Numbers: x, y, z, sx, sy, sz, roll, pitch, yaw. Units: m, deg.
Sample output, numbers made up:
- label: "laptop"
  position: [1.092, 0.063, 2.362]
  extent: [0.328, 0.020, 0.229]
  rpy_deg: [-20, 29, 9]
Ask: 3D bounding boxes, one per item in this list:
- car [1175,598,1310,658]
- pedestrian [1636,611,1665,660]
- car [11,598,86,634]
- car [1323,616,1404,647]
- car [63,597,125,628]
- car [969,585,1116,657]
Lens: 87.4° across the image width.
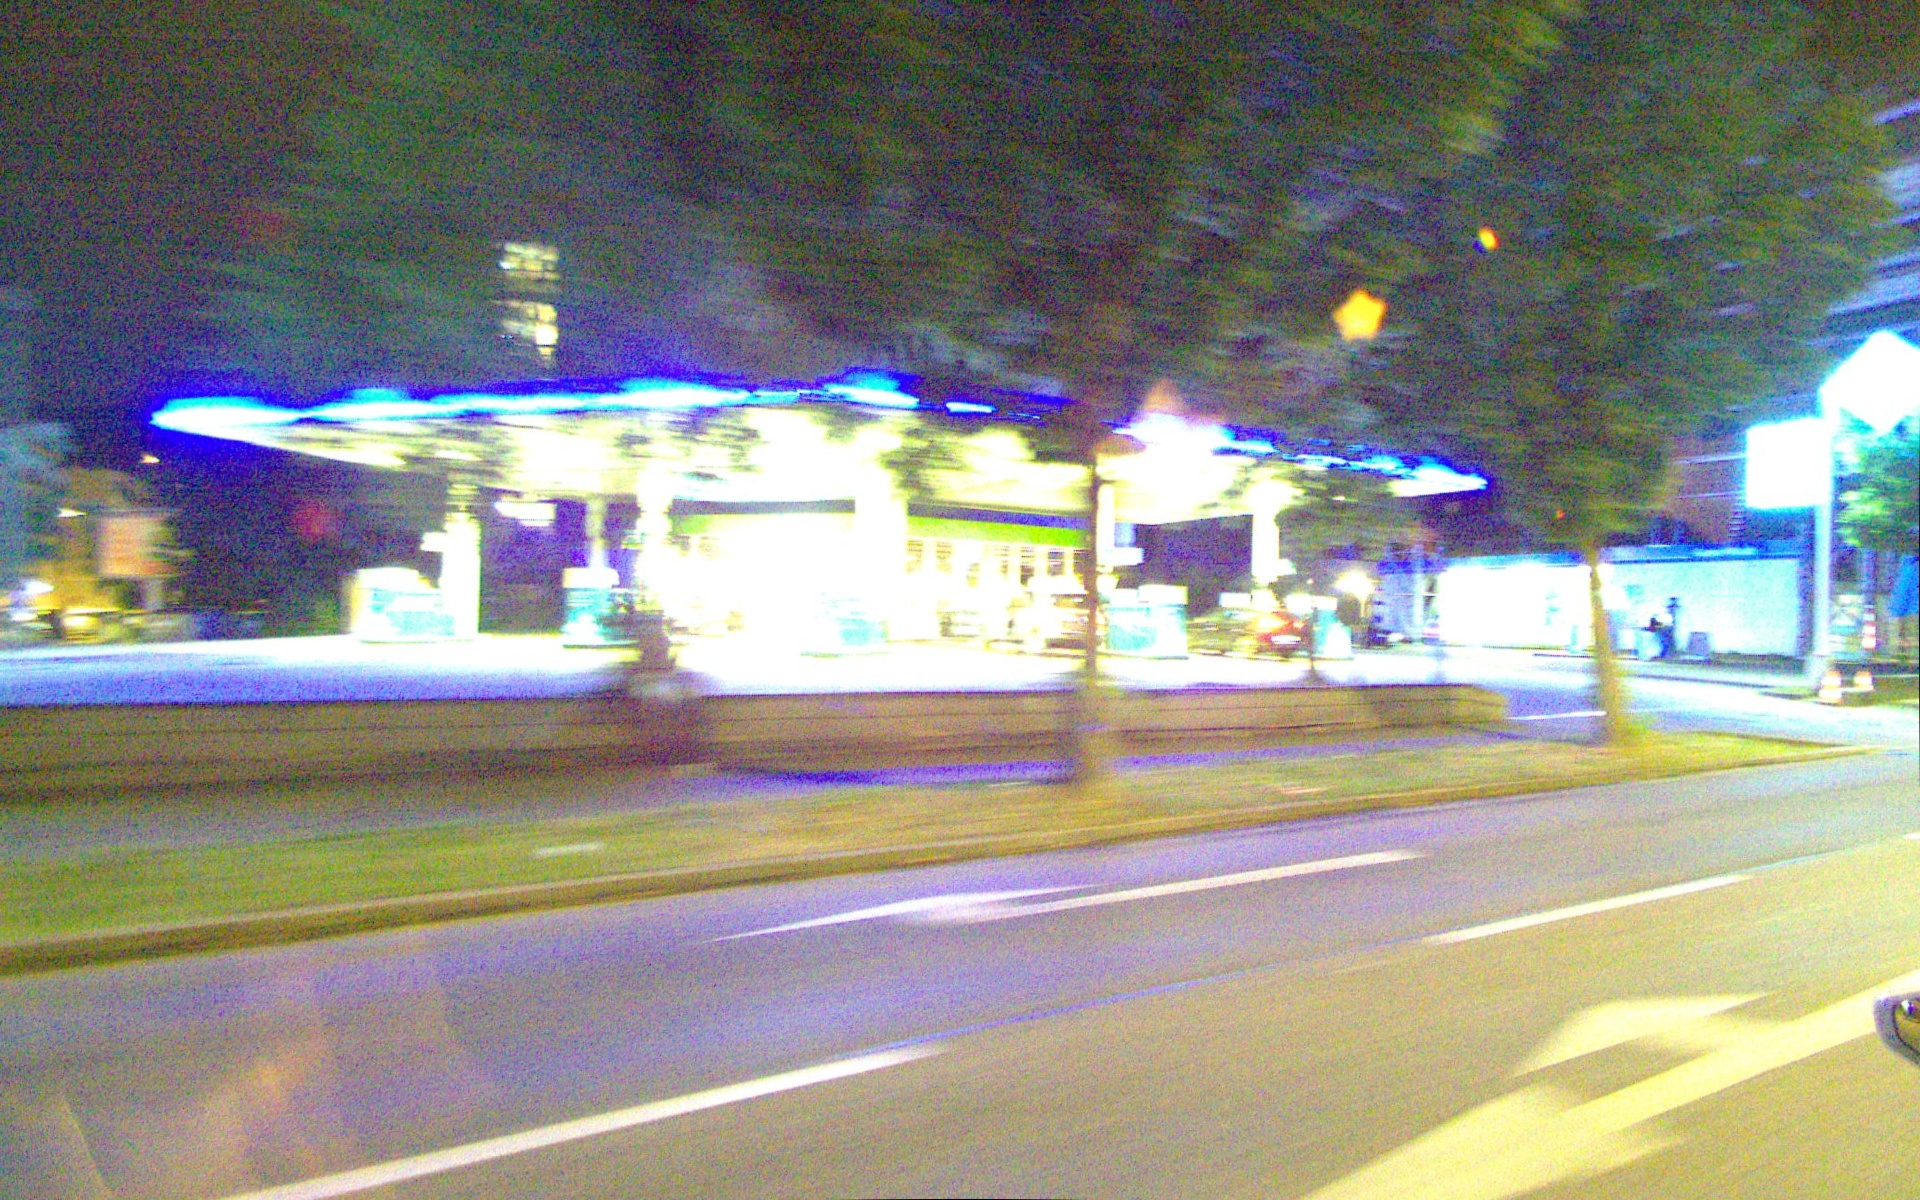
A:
- label: "car"
  position: [8.190, 0.796, 29.463]
  extent: [1.650, 1.553, 3.733]
  rpy_deg: [2, 1, -29]
- label: "pedestrian"
  position: [23.514, 1.203, 34.215]
  extent: [0.635, 1.627, 0.572]
  rpy_deg: [2, 0, -30]
- label: "car"
  position: [-40.071, 0.683, 44.240]
  extent: [1.662, 1.430, 3.543]
  rpy_deg: [2, 0, -30]
- label: "car"
  position: [18.200, 1.419, 45.450]
  extent: [1.555, 1.282, 3.134]
  rpy_deg: [1, 0, -29]
- label: "car"
  position: [-43.641, 0.606, 50.663]
  extent: [1.662, 1.430, 3.543]
  rpy_deg: [2, 0, -30]
- label: "car"
  position: [2.162, 0.531, 27.567]
  extent: [1.955, 1.750, 4.326]
  rpy_deg: [2, 1, -29]
